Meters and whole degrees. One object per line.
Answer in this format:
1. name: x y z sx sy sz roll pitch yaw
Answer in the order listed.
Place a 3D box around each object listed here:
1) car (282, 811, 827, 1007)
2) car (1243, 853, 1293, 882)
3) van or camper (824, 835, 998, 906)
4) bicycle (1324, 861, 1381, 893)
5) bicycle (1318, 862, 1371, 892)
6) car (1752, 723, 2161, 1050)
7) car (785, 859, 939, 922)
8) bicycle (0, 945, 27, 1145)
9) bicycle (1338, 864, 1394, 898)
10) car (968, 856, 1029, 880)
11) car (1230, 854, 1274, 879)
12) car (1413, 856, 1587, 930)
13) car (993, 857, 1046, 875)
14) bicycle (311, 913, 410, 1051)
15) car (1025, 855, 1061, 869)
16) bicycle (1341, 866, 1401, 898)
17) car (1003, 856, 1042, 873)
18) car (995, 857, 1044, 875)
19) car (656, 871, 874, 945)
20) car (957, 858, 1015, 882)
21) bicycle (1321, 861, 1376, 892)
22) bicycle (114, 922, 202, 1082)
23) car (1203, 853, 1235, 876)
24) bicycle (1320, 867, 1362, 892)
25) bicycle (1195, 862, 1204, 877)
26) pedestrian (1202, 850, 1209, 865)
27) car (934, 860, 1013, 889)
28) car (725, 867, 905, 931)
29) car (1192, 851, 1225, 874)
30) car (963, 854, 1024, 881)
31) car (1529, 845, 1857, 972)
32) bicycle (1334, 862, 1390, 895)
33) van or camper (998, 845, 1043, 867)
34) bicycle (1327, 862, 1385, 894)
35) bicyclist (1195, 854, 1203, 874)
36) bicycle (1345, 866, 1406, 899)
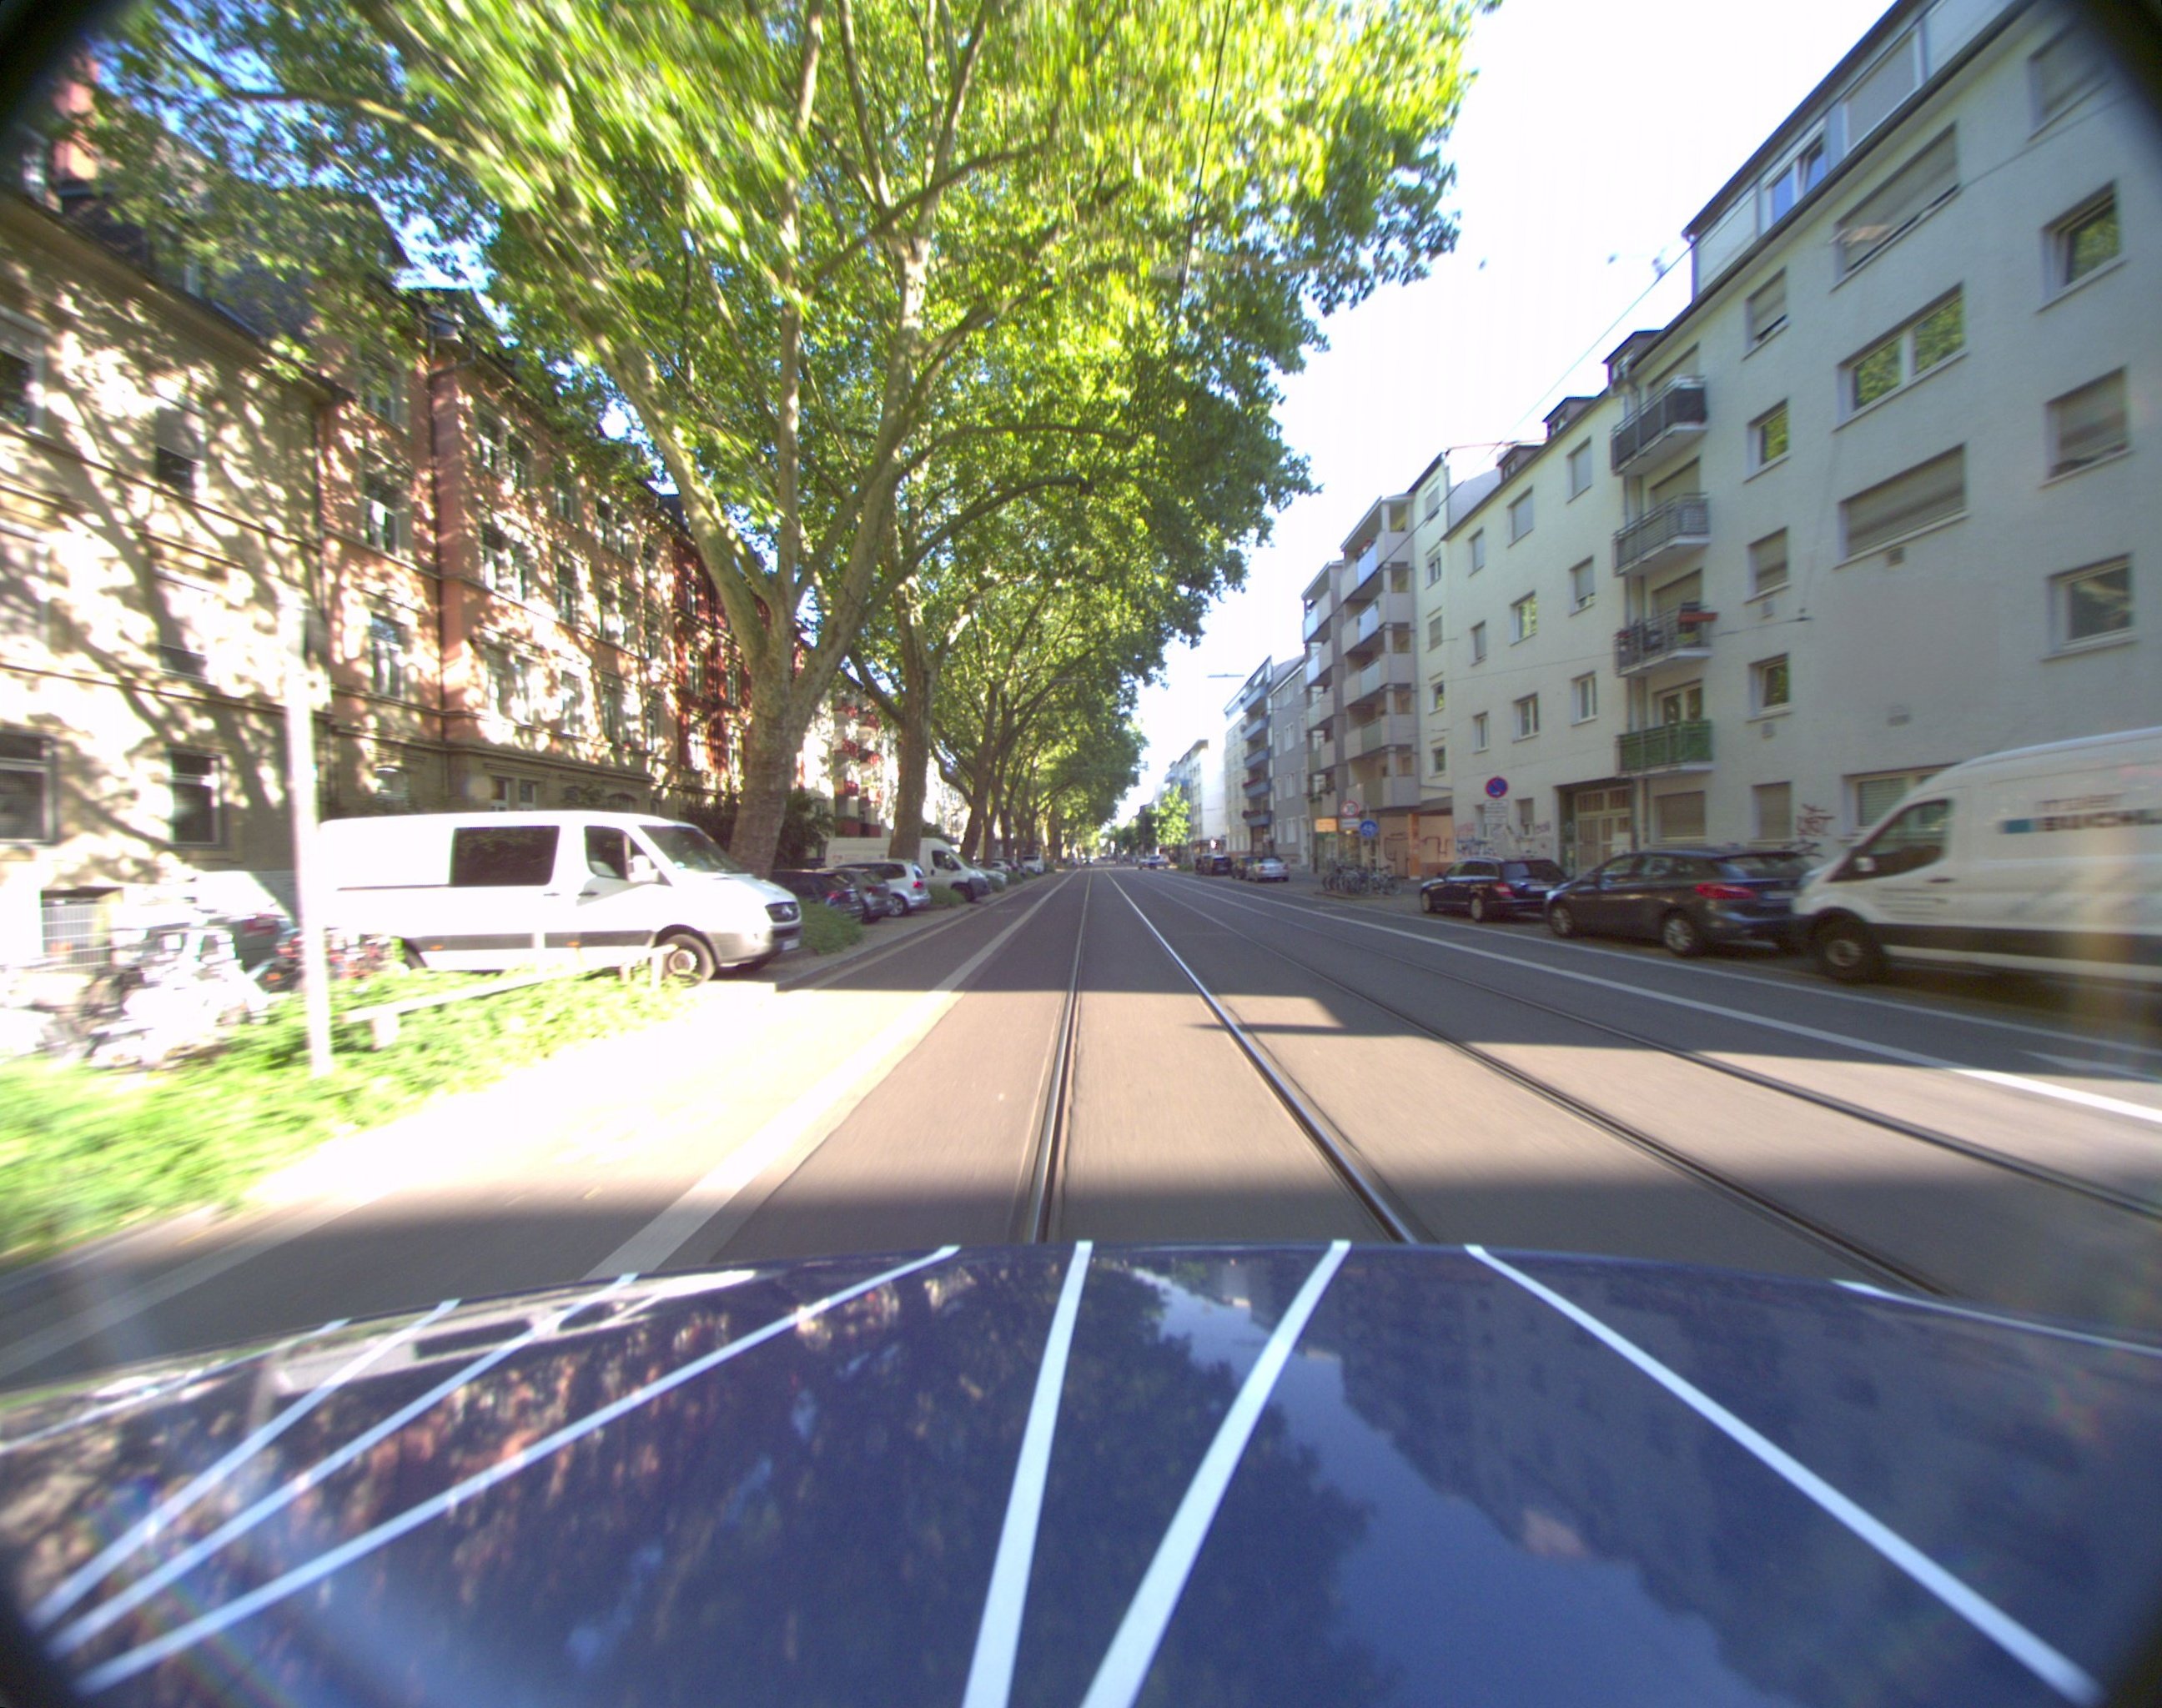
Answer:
1. car: -6.785 0.698 10.228 6.005 2.269 2.007 -1 0 3
2. car: 10.338 0.716 42.314 1.693 1.482 4.728 -1 0 2
3. van or camper: -6.316 0.614 28.786 6.047 2.476 2.107 -1 1 1
4. bicycle: 10.394 0.892 29.132 1.964 1.112 0.440 -3 1 8
5. bicycle: 10.501 0.918 30.300 1.897 1.112 0.402 -3 1 8
6. car: 9.388 0.227 6.722 2.069 2.520 5.667 -1 0 3
7. car: -6.311 1.025 22.211 3.965 1.646 1.795 -1 1 -2
8. bicycle: -7.897 1.311 5.349 2.043 1.172 0.414 -1 2 39
9. bicycle: 10.280 0.974 27.461 1.792 1.112 0.425 -3 1 8
10. car: -6.014 0.991 55.962 4.302 1.643 1.743 -1 0 -1
11. car: 10.568 0.741 47.229 1.798 1.482 4.240 -1 0 0
12. car: 9.539 0.797 17.771 1.722 1.448 4.573 -1 0 3
13. car: -5.160 0.991 64.193 4.206 1.473 1.912 -1 0 2
14. bicycle: -7.441 1.248 7.815 2.043 1.172 0.414 -1 2 39
15. car: -3.981 0.817 79.499 3.570 1.431 1.727 -1 0 4
16. bicycle: 10.176 0.992 26.677 1.897 1.031 0.402 -3 1 8
17. car: -5.609 0.994 72.955 3.572 1.522 1.677 -1 0 -1
18. car: -4.959 0.979 61.577 3.837 1.434 1.700 0 -2 -4
19. car: -6.875 1.152 16.853 4.064 1.451 1.796 -1 0 0
20. car: -6.351 1.058 50.979 3.618 1.486 1.660 -1 0 0
21. bicycle: 10.428 0.889 29.671 1.934 1.112 0.440 -3 1 8
22. bicycle: -8.441 1.270 6.935 2.043 1.172 0.414 -1 2 39
23. car: 10.474 0.748 57.972 1.660 1.591 4.202 -3 0 0
24. bicycle: 10.584 1.039 30.888 1.624 0.911 0.401 -3 1 -15
25. bicycle: 8.290 1.073 53.141 0.418 1.012 1.947 0 0 1
26. pedestrian: 15.346 0.445 93.463 0.773 1.888 0.799 -3 1 9
27. car: -5.734 1.086 40.743 3.963 1.471 1.688 -1 0 1
28. car: -6.768 1.129 19.632 3.964 1.470 1.796 -1 0 1
29. car: 10.563 0.681 63.199 1.784 1.728 4.489 -3 0 -1
30. car: -6.080 0.951 53.296 4.003 1.734 1.805 -1 0 1
31. car: 9.326 0.714 12.153 1.723 1.622 4.346 -1 0 0
32. bicycle: 10.332 0.897 27.960 1.822 1.112 0.425 -3 1 8
33. van or camper: -5.990 0.173 75.537 4.388 2.097 1.838 -1 1 -2
34. bicycle: 10.351 0.895 28.646 1.972 1.112 0.425 -3 1 8
35. bicyclist: 8.306 0.680 53.528 0.510 1.386 0.709 0 1 1
36. bicycle: 10.109 0.980 26.110 1.897 1.031 0.402 -3 1 8
